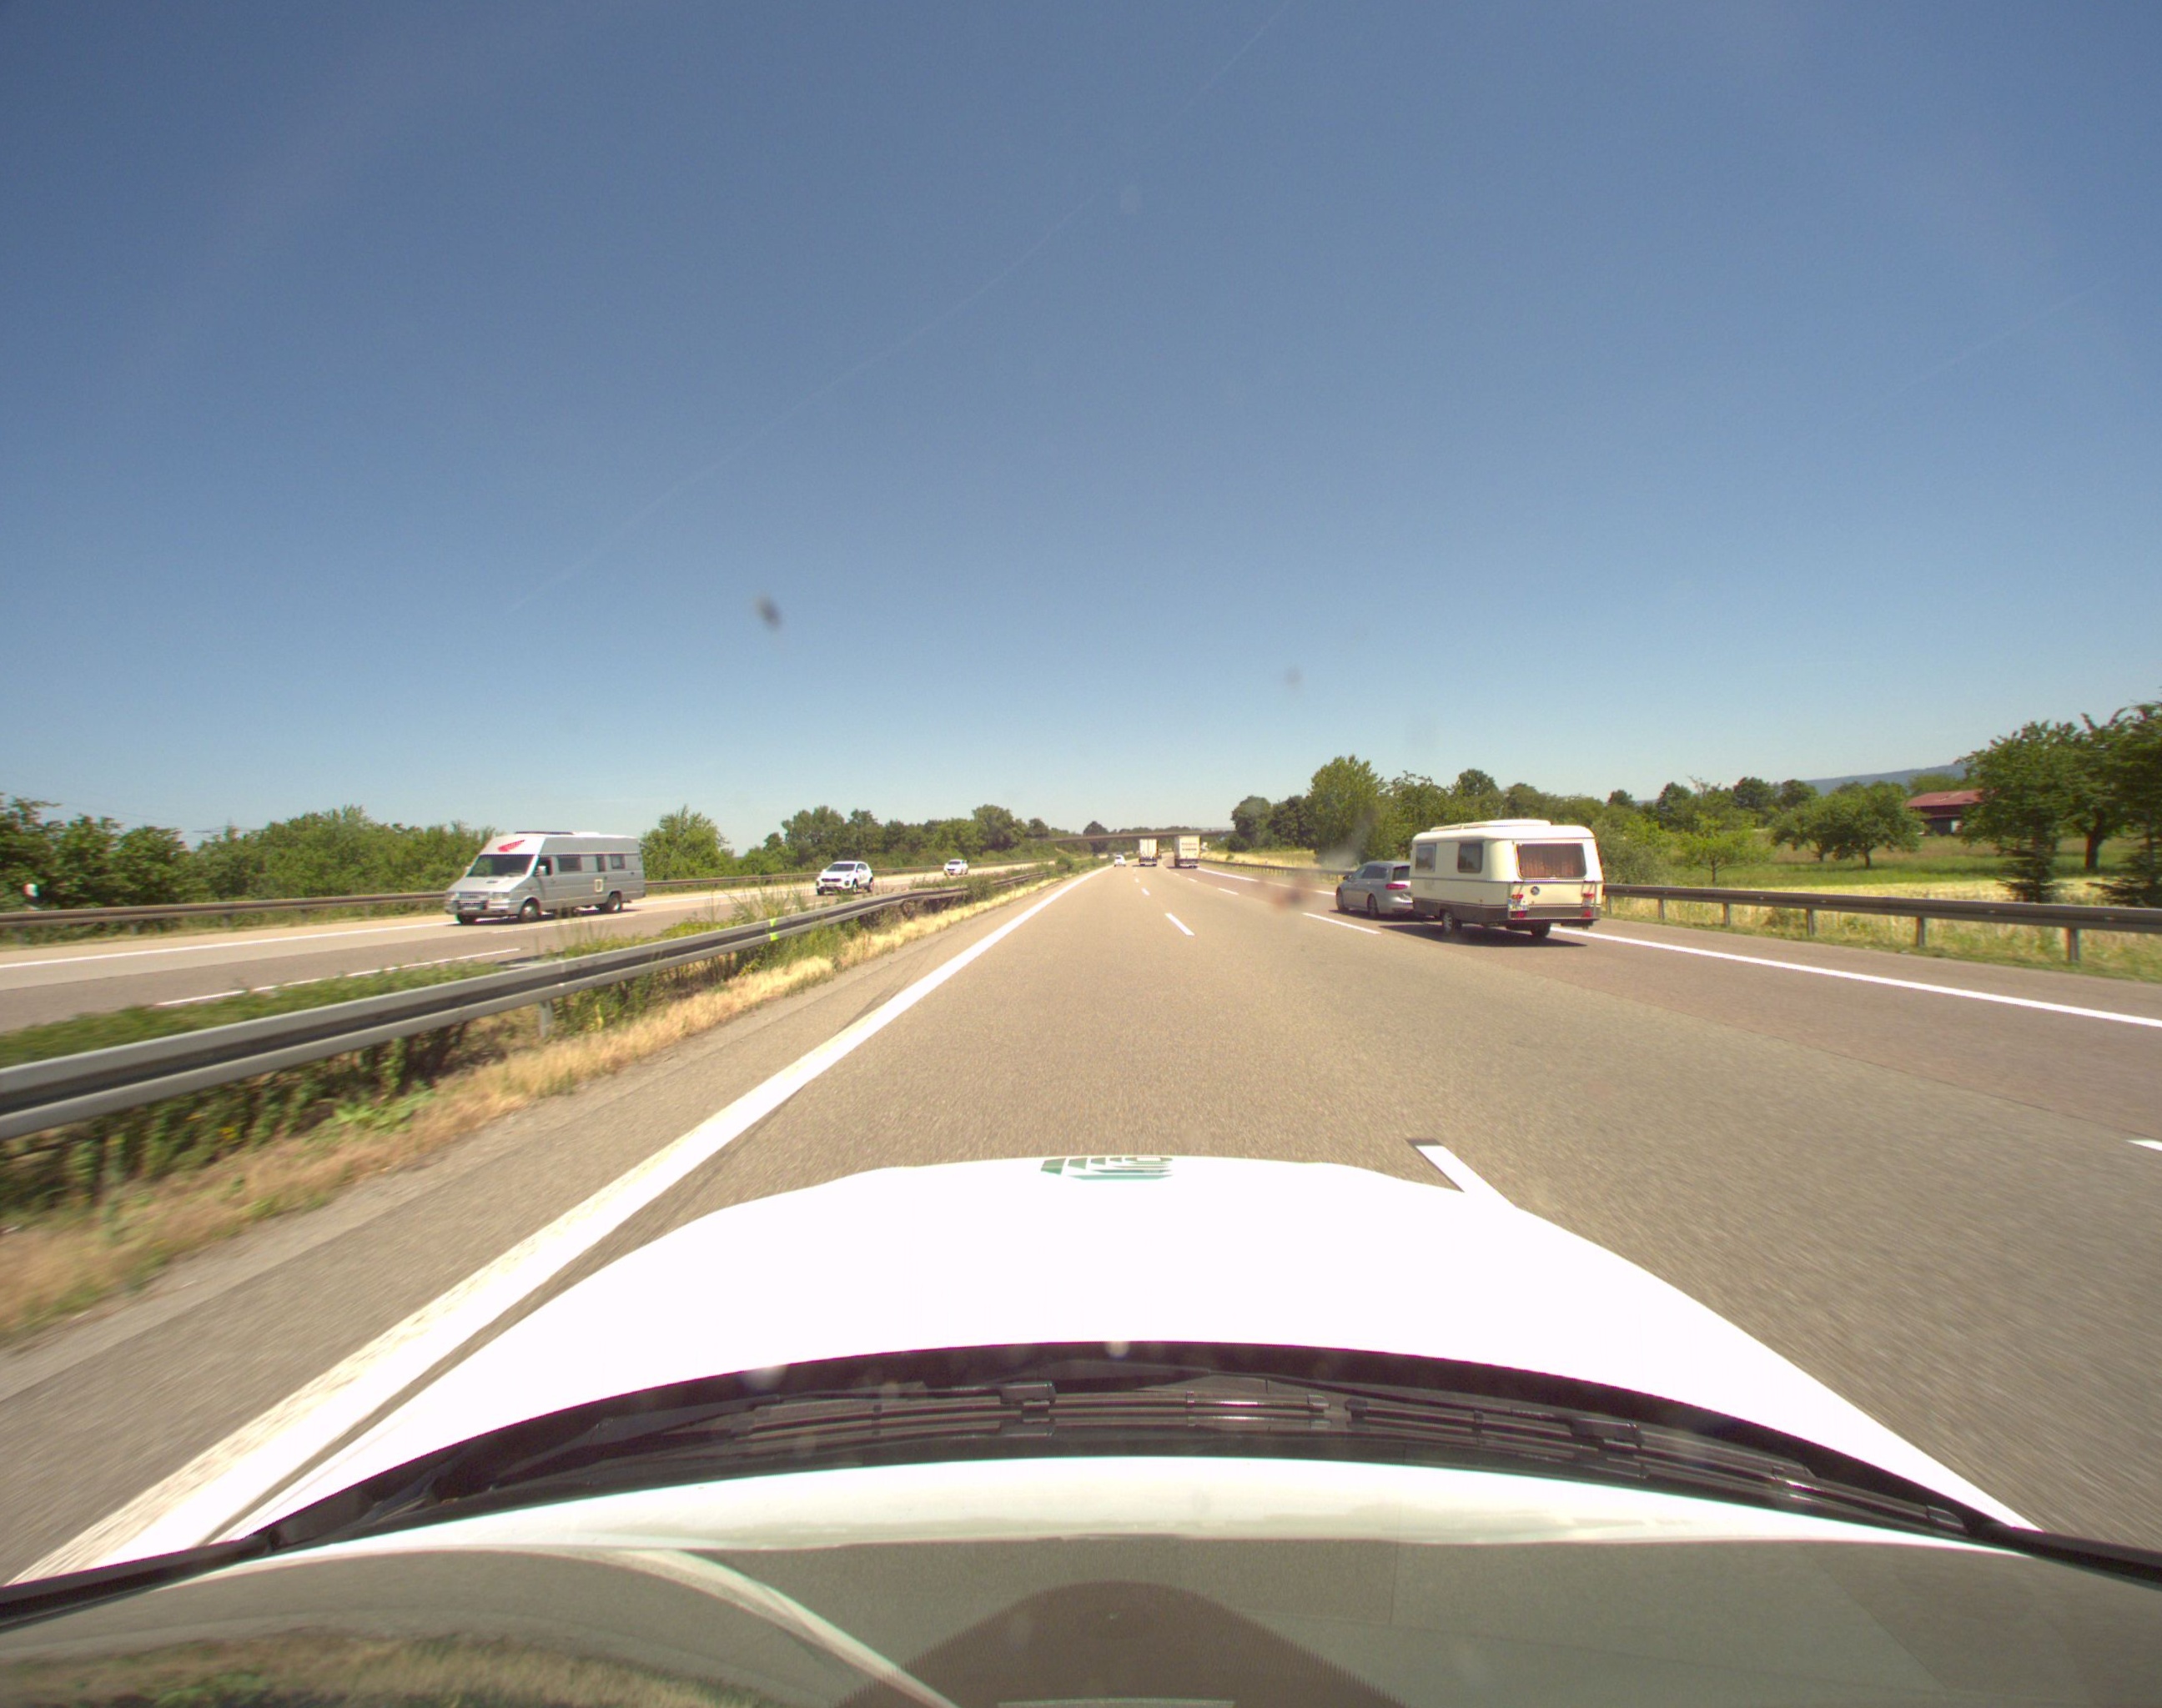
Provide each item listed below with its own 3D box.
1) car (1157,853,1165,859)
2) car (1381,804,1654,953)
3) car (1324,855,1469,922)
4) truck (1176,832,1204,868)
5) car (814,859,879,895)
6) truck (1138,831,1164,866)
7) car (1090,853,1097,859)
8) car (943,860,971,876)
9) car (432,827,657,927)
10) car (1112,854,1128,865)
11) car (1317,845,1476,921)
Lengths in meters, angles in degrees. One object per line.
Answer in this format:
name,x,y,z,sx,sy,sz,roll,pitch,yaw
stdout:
car,20.669,0.525,210.592,1.817,1.547,4.331,0,0,10
car,8.057,0.352,15.859,2.434,2.321,5.322,-2,1,0
car,8.068,0.794,21.443,1.880,1.515,5.381,0,0,1
truck,14.141,-0.552,107.147,3.165,4.304,16.045,-1,1,6
car,-11.901,1.129,41.697,1.781,1.680,4.903,-1,-1,1
truck,10.764,-0.900,124.171,3.648,5.018,16.043,-1,1,6
car,3.667,0.669,246.674,1.774,1.661,4.663,-1,0,4
car,-12.776,1.392,84.313,1.739,1.540,4.833,0,0,4
car,-16.337,0.655,25.533,1.985,2.686,7.187,-1,-1,3
car,5.747,0.829,120.385,1.817,1.547,4.331,0,0,10
car,8.034,0.628,21.412,2.038,1.658,5.510,-2,1,0
